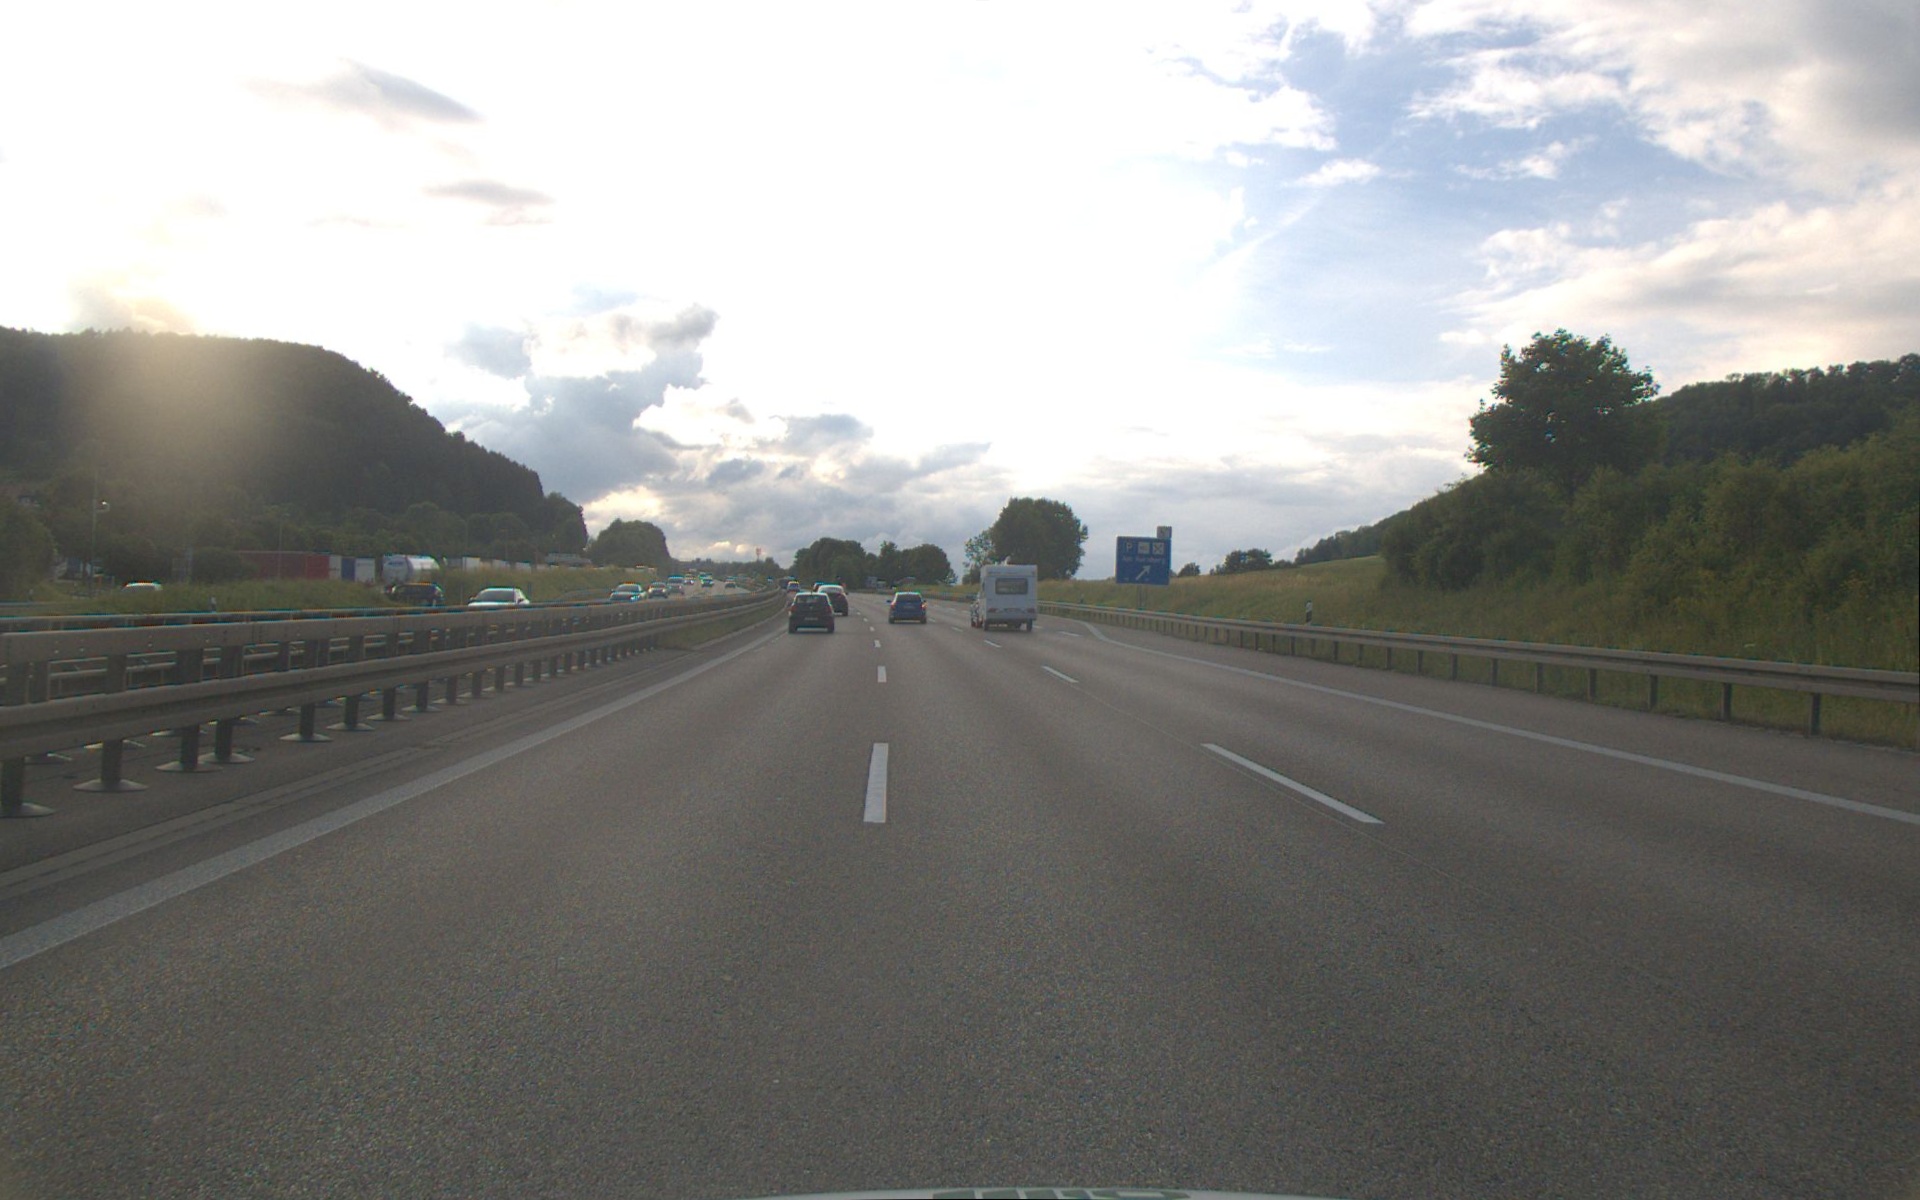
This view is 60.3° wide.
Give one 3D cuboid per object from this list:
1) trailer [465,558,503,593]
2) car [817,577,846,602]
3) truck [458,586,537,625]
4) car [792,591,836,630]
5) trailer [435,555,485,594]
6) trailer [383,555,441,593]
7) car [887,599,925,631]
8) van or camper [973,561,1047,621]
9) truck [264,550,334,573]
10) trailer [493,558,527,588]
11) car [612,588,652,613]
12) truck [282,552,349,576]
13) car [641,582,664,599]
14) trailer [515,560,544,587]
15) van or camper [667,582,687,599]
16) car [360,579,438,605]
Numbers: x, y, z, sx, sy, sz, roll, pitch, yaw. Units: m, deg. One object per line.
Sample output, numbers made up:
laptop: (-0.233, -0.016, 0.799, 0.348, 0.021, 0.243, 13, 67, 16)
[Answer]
trailer: (-55.209, -2.766, 192.110, 2.825, 3.761, 13.641, -1, 0, -10)
car: (-7.375, -0.601, 94.607, 1.535, 1.404, 3.995, 0, 1, -6)
truck: (-17.182, 0.199, 61.630, 1.954, 1.389, 4.641, 0, 0, -5)
car: (-5.398, 0.370, 61.404, 1.507, 1.371, 3.674, 0, 0, -3)
trailer: (-51.358, -2.524, 170.139, 2.823, 3.761, 13.650, -1, 0, -8)
trailer: (-48.289, -2.231, 146.016, 2.530, 2.903, 12.241, 1, -1, -7)
car: (-2.574, 0.683, 77.879, 1.731, 1.458, 3.998, -1, 0, -3)
van or camper: (1.952, -0.328, 66.332, 2.497, 2.278, 5.325, 0, -1, -4)
truck: (-63.983, -3.672, 160.016, 7.163, 2.049, 2.889, 0, -1, 36)
trailer: (-57.978, -3.440, 213.224, 2.823, 3.760, 10.354, 0, 1, -8)
car: (-21.229, 0.034, 107.099, 1.954, 1.523, 4.688, -1, 0, -4)
truck: (-64.351, -3.570, 165.197, 7.163, 2.265, 2.889, 1, 1, 36)
car: (-29.580, -0.917, 159.360, 1.956, 1.523, 4.684, 0, 0, -8)
trailer: (-61.256, -3.787, 235.405, 2.823, 3.760, 10.354, 0, 1, -8)
van or camper: (-32.481, -1.138, 189.623, 1.878, 1.906, 4.749, 0, 0, -5)
car: (-35.193, -0.524, 103.901, 4.529, 1.578, 1.991, 0, 0, -16)
